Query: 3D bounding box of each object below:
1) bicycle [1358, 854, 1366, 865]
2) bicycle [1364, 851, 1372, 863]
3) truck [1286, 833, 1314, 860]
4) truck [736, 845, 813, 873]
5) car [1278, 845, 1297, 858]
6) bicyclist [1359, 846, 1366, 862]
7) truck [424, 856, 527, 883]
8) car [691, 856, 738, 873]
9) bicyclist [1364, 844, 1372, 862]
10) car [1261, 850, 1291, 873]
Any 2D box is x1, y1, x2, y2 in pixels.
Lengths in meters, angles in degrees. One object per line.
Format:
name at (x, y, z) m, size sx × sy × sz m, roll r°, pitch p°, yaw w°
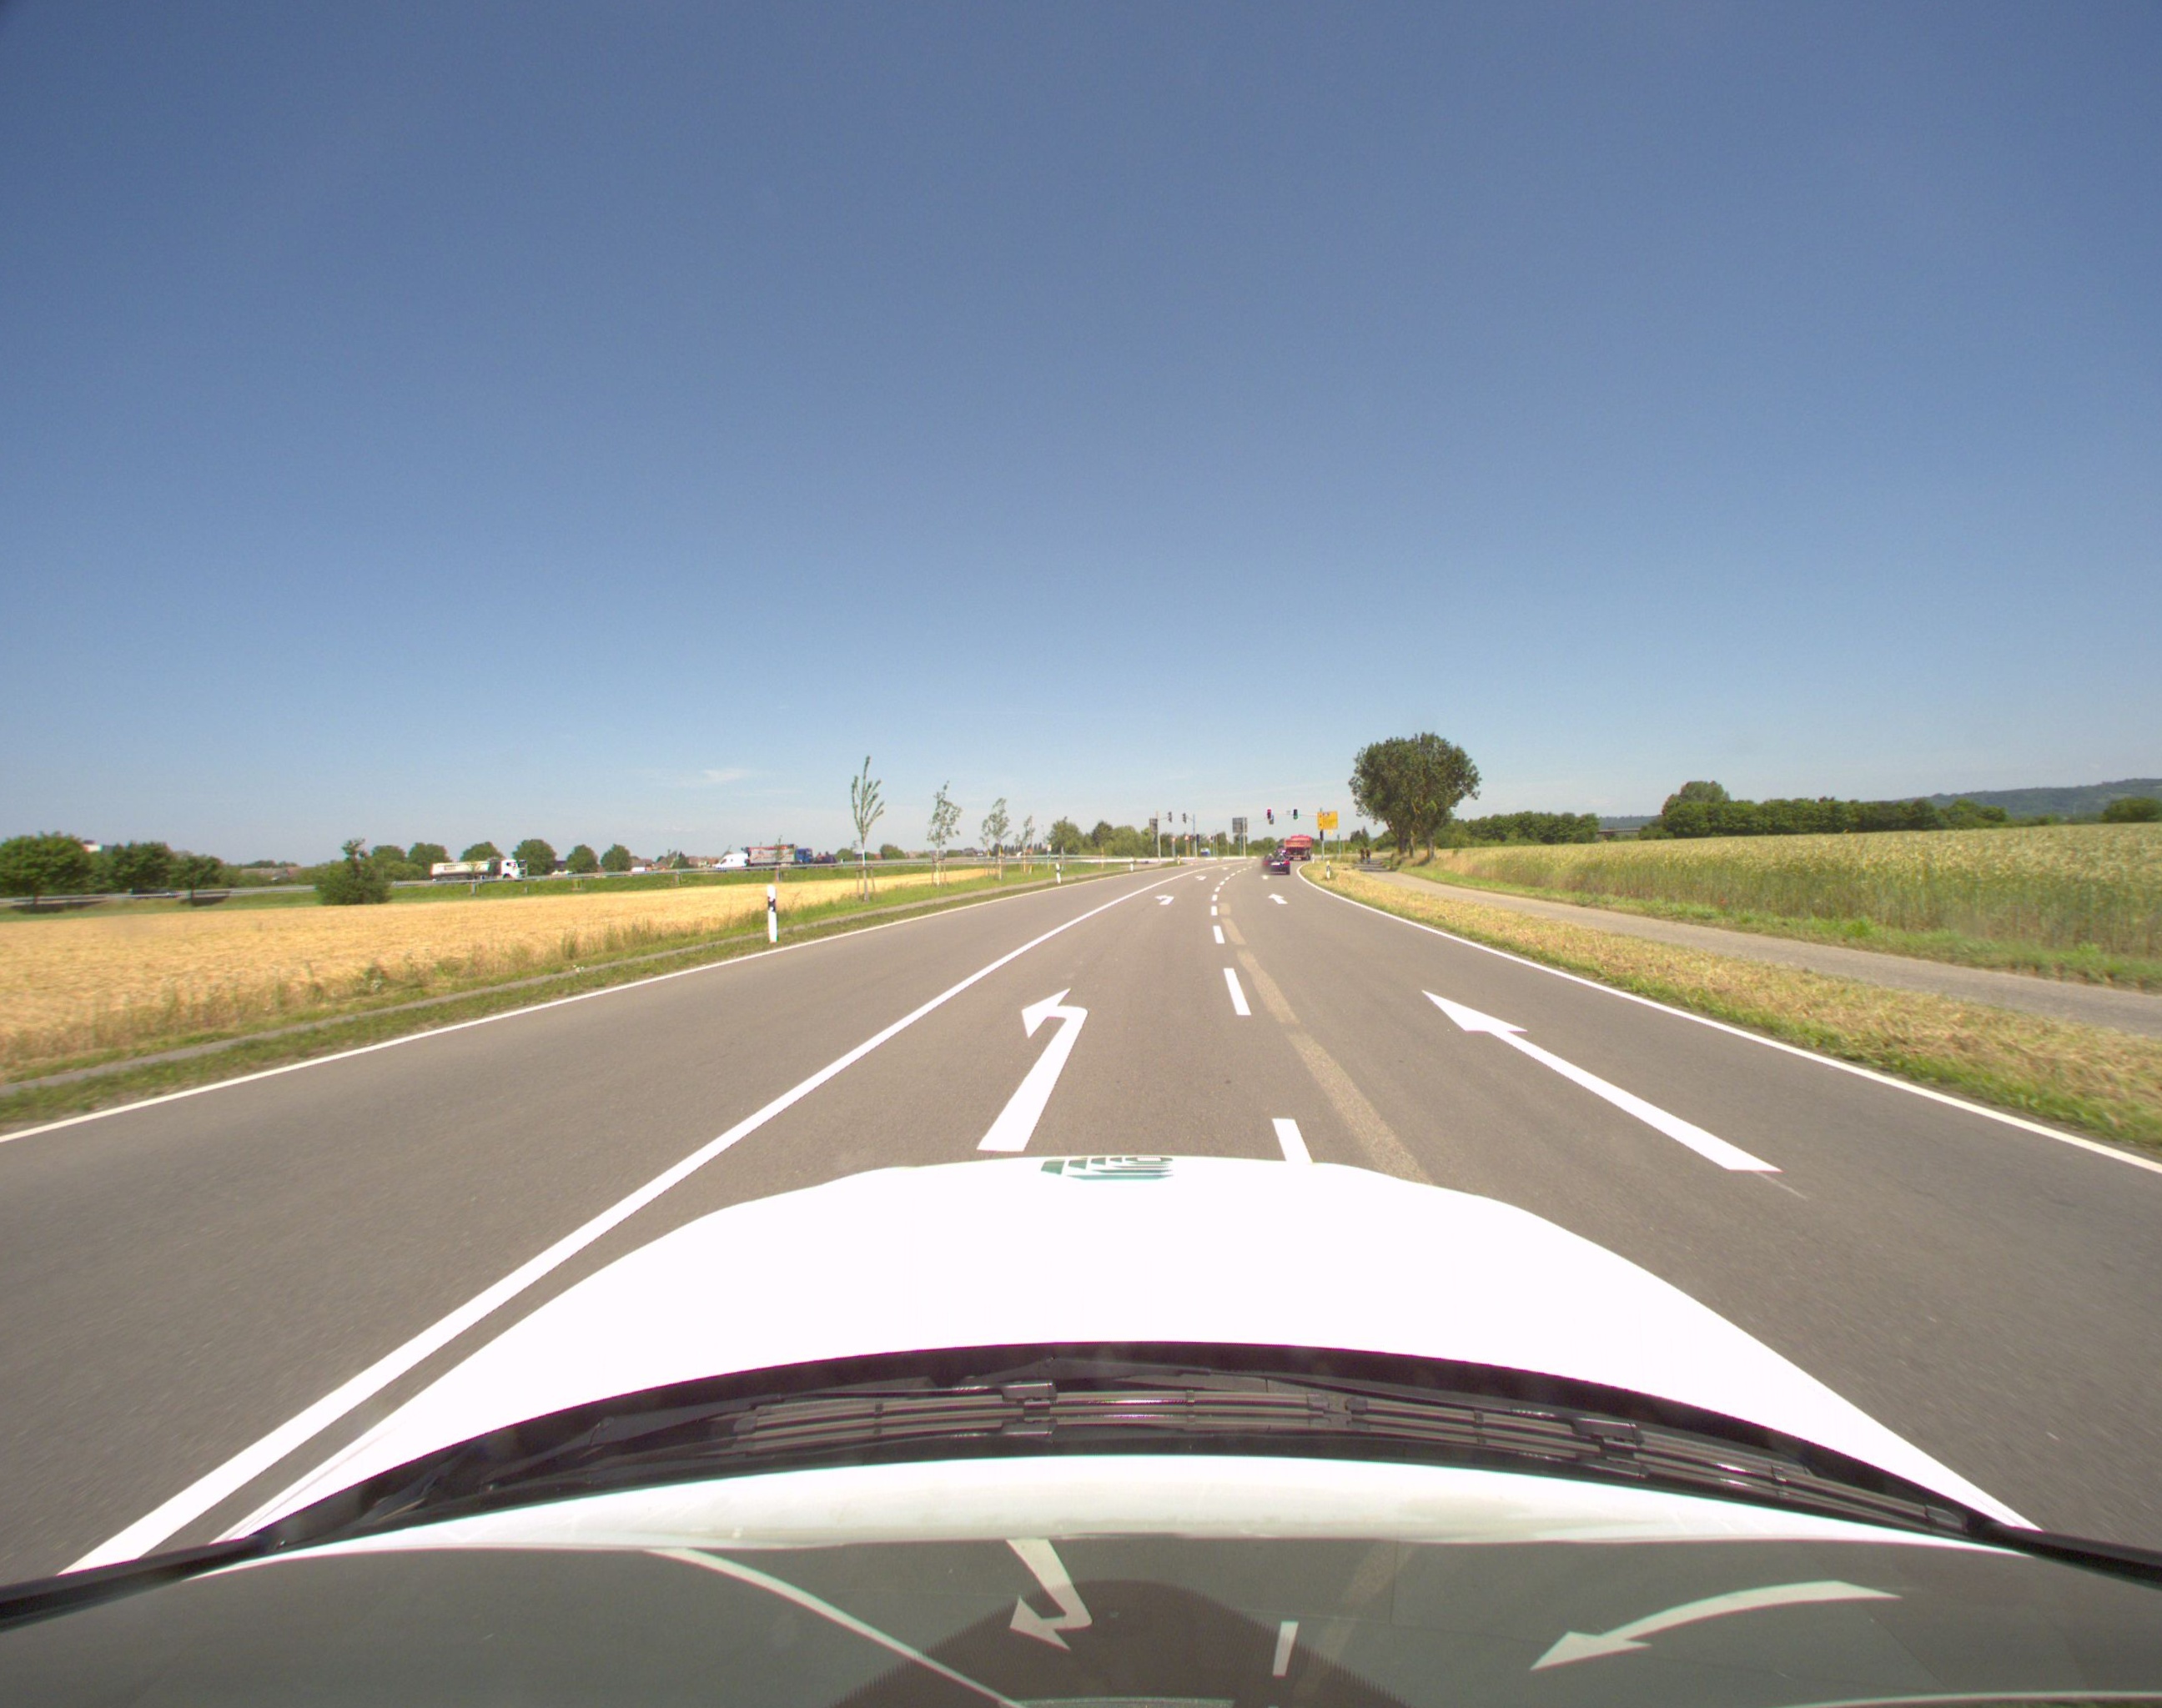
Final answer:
bicycle at (30.274, 0.613, 87.629) m, size 0.600 × 1.176 × 2.063 m, roll 2°, pitch 1°, yaw 25°
bicycle at (29.547, 0.330, 83.946) m, size 0.692 × 1.210 × 2.061 m, roll 1°, pitch 0°, yaw 21°
truck at (26.632, -0.830, 98.869) m, size 2.692 × 3.053 × 8.203 m, roll -1°, pitch -1°, yaw 19°
truck at (-44.422, 0.758, 118.330) m, size 10.048 × 3.793 × 2.625 m, roll -1°, pitch 0°, yaw 0°
car at (32.088, -0.417, 126.425) m, size 1.913 × 1.978 × 4.711 m, roll -1°, pitch 0°, yaw 25°
bicyclist at (30.298, 0.014, 87.632) m, size 0.582 × 1.734 × 1.178 m, roll 3°, pitch 2°, yaw 25°
truck at (-86.523, 2.171, 116.500) m, size 11.967 × 3.614 × 2.978 m, roll -1°, pitch 0°, yaw -5°
car at (-55.078, 1.541, 122.389) m, size 5.896 × 2.421 × 2.248 m, roll -1°, pitch 0°, yaw 1°
bicyclist at (29.531, -0.146, 83.856) m, size 0.622 × 1.782 × 0.983 m, roll 3°, pitch 2°, yaw 22°
car at (12.071, 0.462, 50.282) m, size 1.735 × 1.376 × 3.693 m, roll 0°, pitch -1°, yaw 14°
